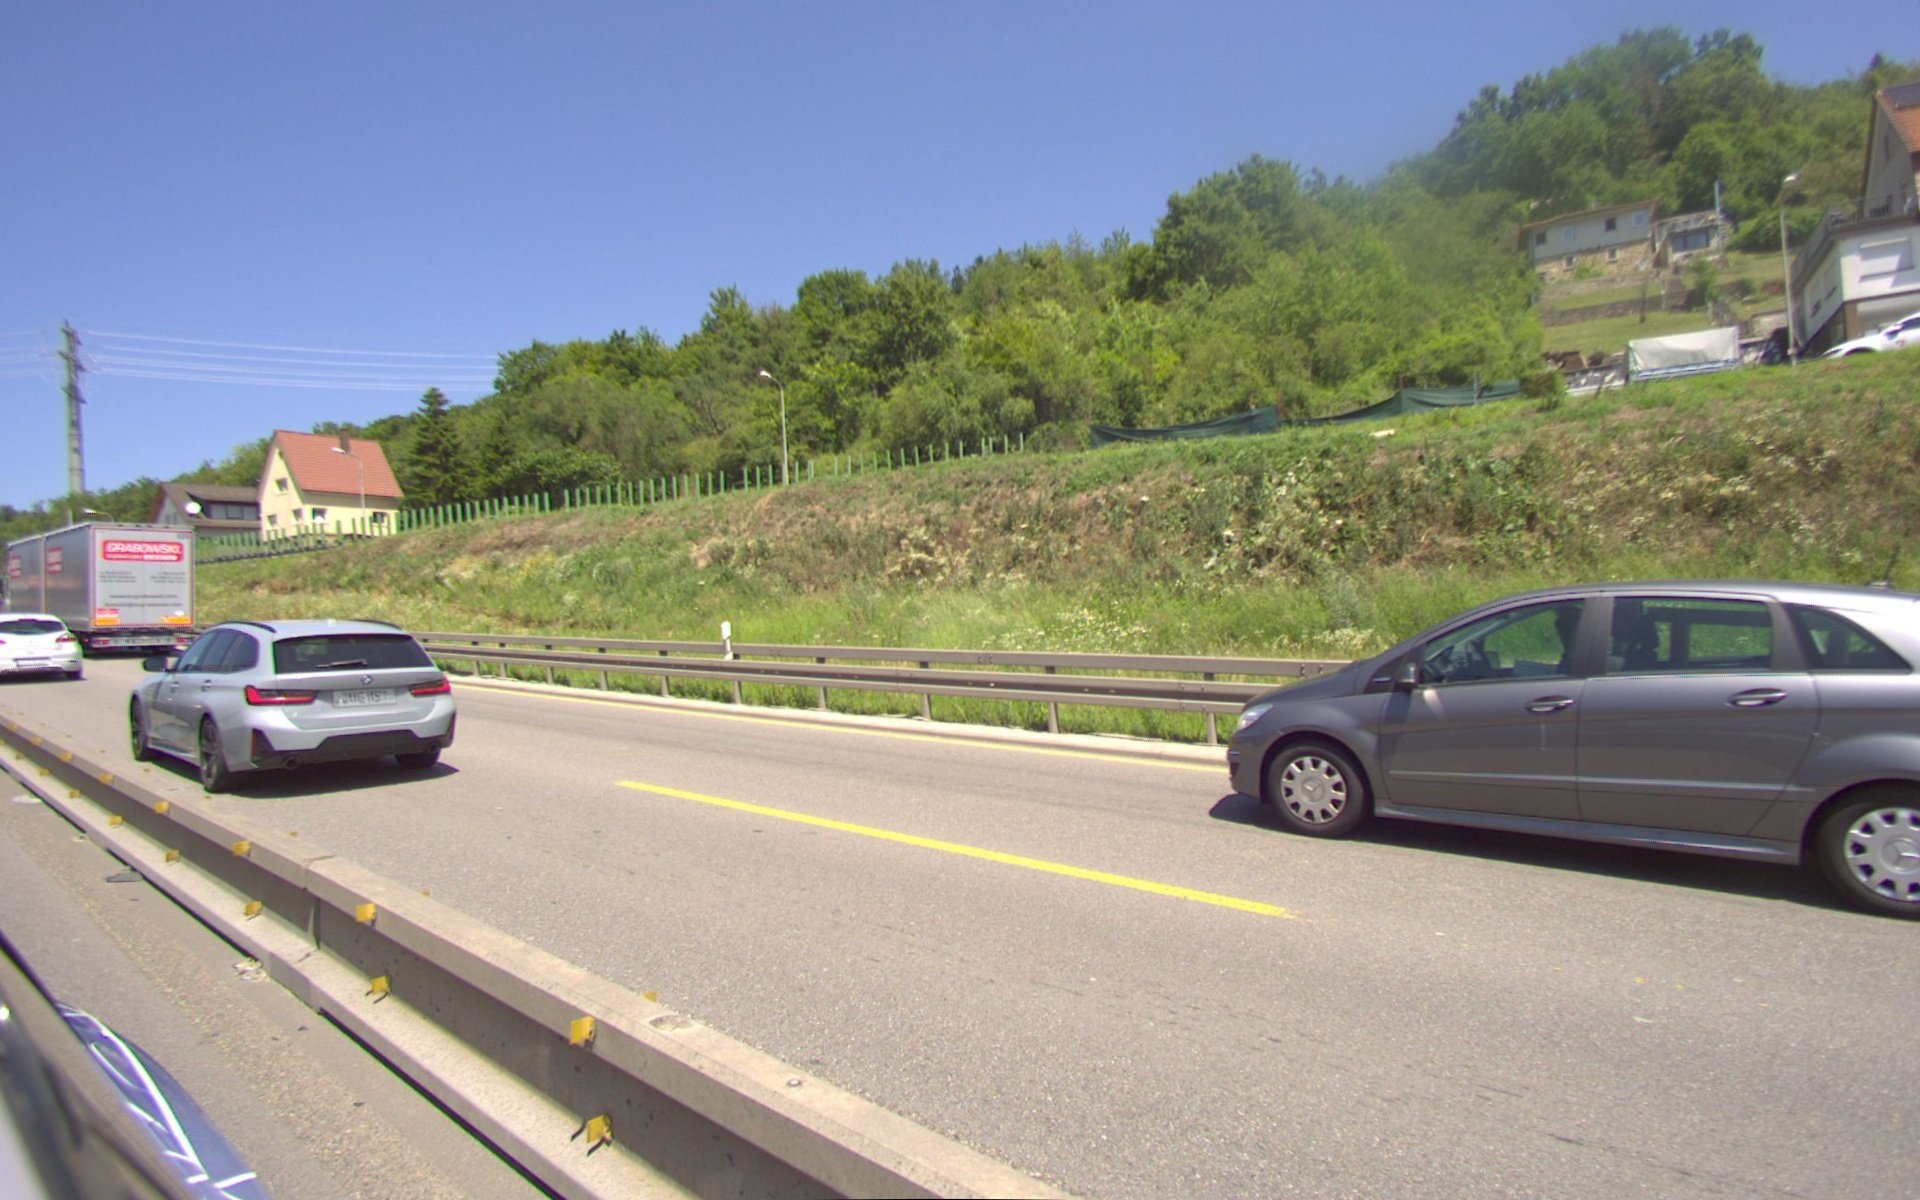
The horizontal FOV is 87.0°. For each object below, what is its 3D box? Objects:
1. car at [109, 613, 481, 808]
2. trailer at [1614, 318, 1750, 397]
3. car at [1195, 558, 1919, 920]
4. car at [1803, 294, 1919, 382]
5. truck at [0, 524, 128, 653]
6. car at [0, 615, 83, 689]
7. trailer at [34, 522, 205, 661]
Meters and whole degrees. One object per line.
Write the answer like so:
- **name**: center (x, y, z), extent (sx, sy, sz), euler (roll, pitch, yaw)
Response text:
- **car**: center (-6.544, 0.865, 9.732), extent (4.626, 1.444, 1.810), euler (-1, -1, 41)
- **trailer**: center (20.921, -7.003, 29.461), extent (3.026, 1.527, 1.888), euler (0, 0, 30)
- **car**: center (3.767, 0.618, 6.009), extent (4.283, 1.594, 1.755), euler (-1, 0, 41)
- **car**: center (25.341, -7.007, 26.662), extent (4.537, 1.668, 1.979), euler (0, 0, 32)
- **truck**: center (-34.986, -0.345, 39.183), extent (10.379, 4.430, 2.594), euler (-1, 0, 41)
- **car**: center (-20.662, 1.085, 22.062), extent (3.998, 1.475, 1.784), euler (-1, -1, 41)
- **trailer**: center (-27.644, -0.217, 33.112), extent (8.700, 4.019, 2.899), euler (-1, 0, 41)
